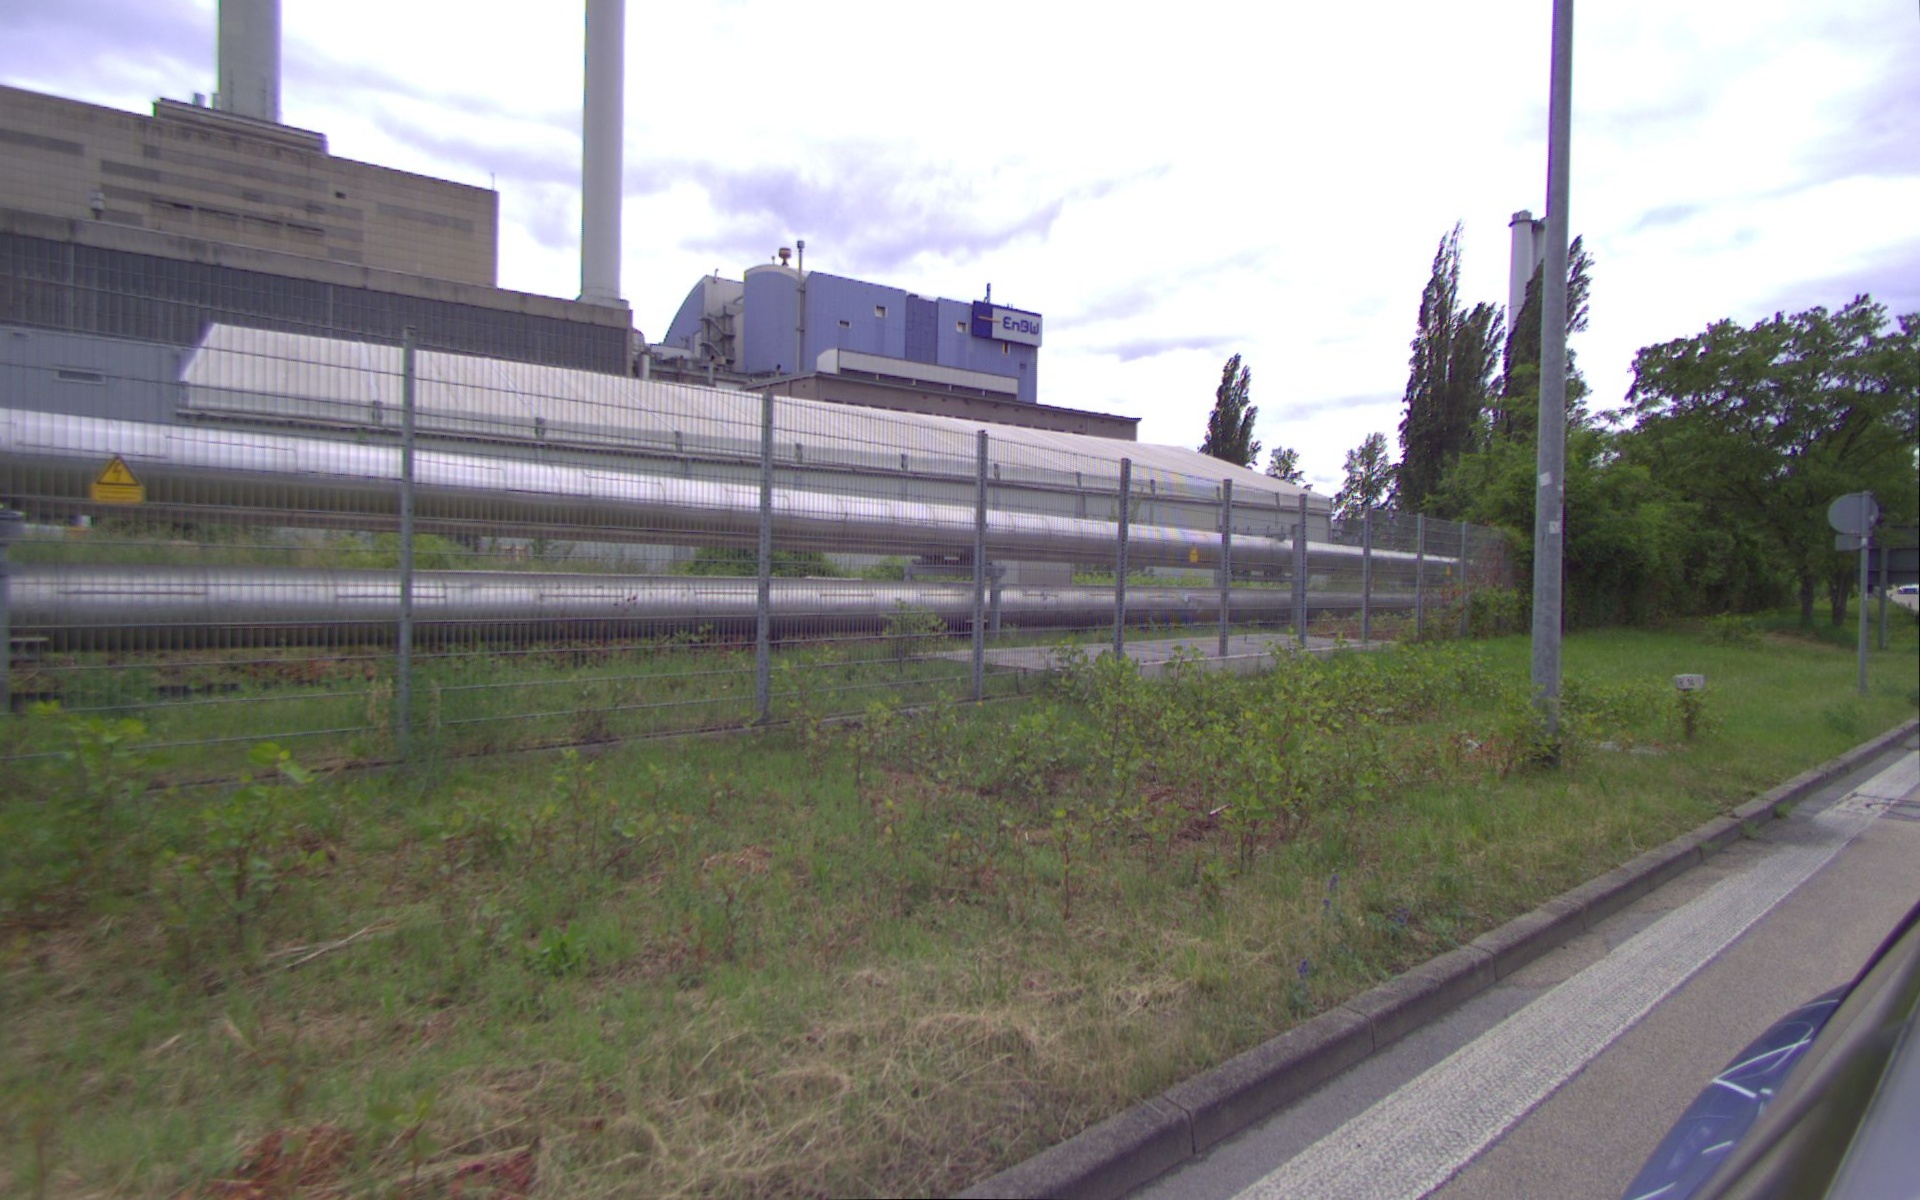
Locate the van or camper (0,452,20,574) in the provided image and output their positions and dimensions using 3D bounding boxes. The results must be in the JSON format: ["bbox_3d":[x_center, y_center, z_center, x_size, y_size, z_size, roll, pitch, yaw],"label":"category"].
[{"bbox_3d":[-20.643,-1.797,19.544,2.525,2.580,6.131,0,2,-32],"label":"van or camper"}]

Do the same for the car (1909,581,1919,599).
[{"bbox_3d":[101.994,-1.054,107.064,1.983,1.885,3.885,3,2,39],"label":"car"}]
